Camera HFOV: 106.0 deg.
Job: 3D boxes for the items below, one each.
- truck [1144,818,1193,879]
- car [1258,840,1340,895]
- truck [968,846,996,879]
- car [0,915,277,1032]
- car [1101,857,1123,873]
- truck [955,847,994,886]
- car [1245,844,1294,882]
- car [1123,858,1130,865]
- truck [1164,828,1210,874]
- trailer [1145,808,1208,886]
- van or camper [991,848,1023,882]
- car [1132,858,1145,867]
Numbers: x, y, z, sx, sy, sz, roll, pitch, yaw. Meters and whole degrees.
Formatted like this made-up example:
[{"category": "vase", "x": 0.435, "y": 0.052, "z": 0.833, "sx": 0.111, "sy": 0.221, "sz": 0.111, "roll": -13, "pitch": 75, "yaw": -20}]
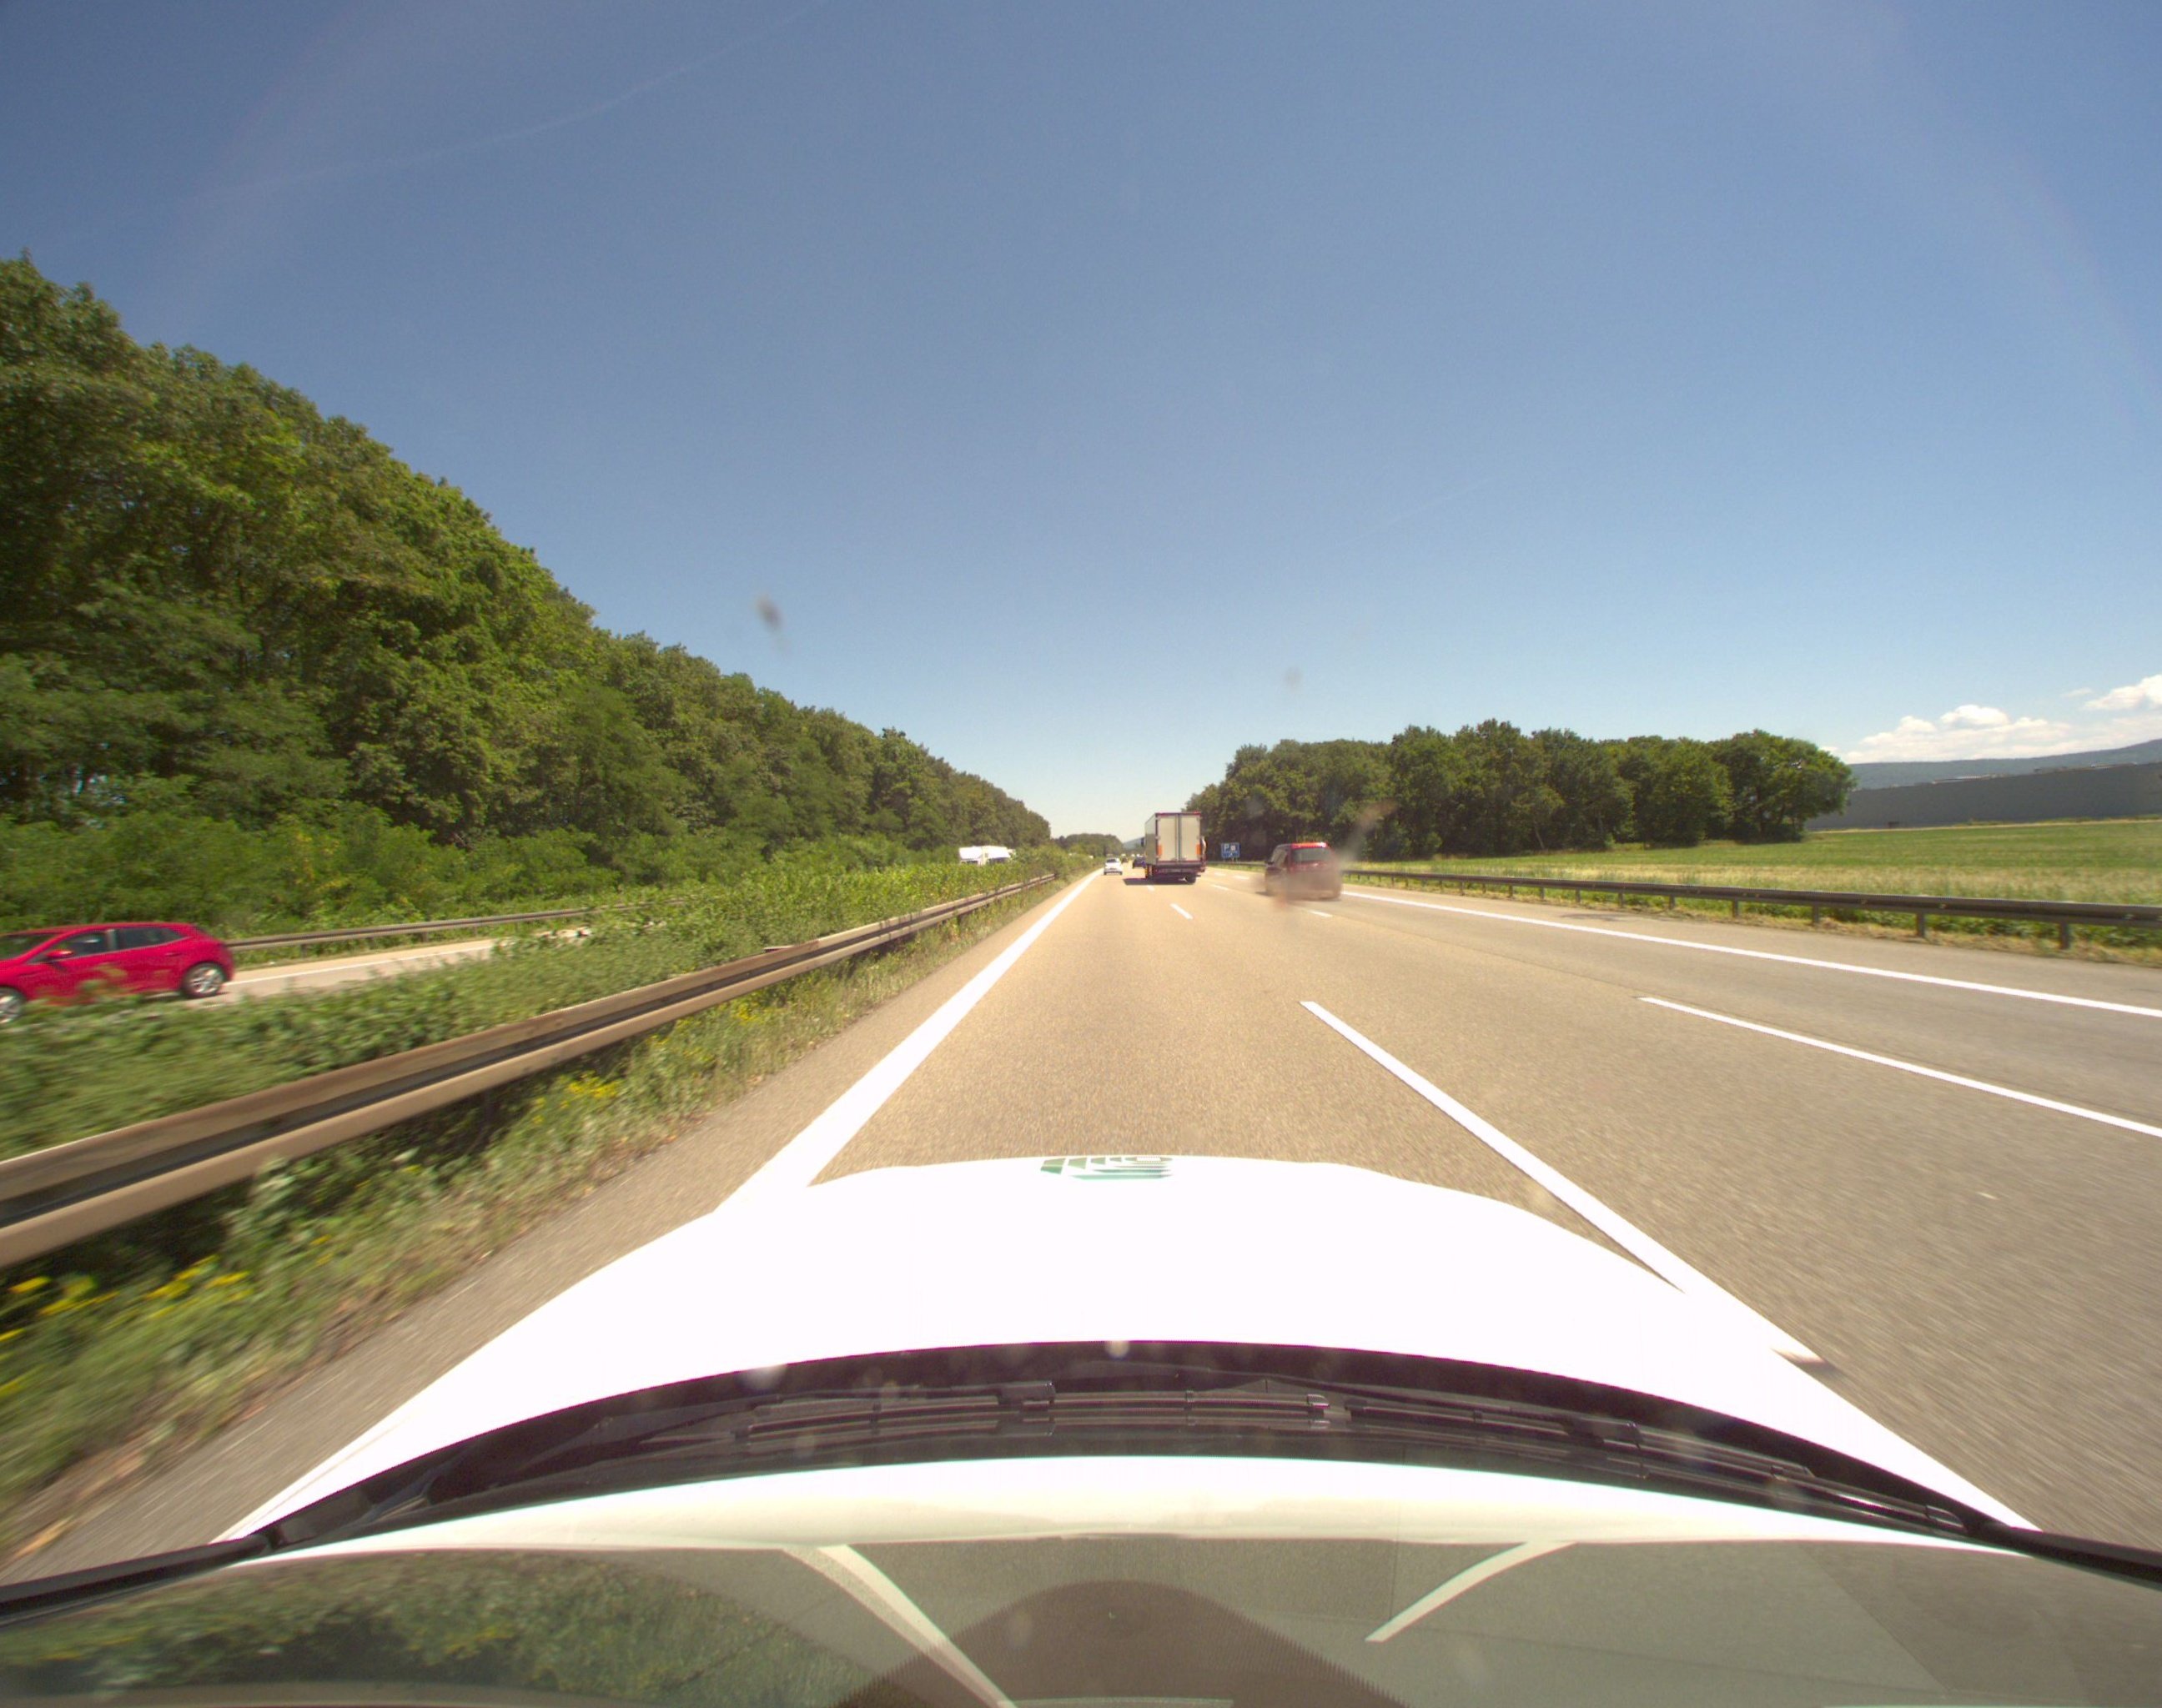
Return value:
[{"category": "truck", "x": 6.219, "y": -0.377, "z": 58.630, "sx": 3.215, "sy": 4.158, "sz": 4.564, "roll": -2, "pitch": 0, "yaw": 4}, {"category": "car", "x": 8.562, "y": 0.506, "z": 32.501, "sx": 1.849, "sy": 2.003, "sz": 5.523, "roll": -1, "pitch": 0, "yaw": 1}, {"category": "truck", "x": -12.796, "y": 1.044, "z": 105.558, "sx": 2.823, "sy": 4.034, "sz": 4.187, "roll": -3, "pitch": -1, "yaw": 2}, {"category": "car", "x": -16.323, "y": 1.866, "z": 13.224, "sx": 1.925, "sy": 1.403, "sz": 4.569, "roll": -1, "pitch": 0, "yaw": 1}, {"category": "car", "x": 2.793, "y": 1.004, "z": 74.722, "sx": 1.806, "sy": 1.405, "sz": 3.316, "roll": -2, "pitch": 0, "yaw": -1}, {"category": "truck", "x": -9.935, "y": 1.135, "z": 76.817, "sx": 2.401, "sy": 3.353, "sz": 7.001, "roll": -4, "pitch": 0, "yaw": 1}, {"category": "car", "x": 10.776, "y": 0.503, "z": 46.783, "sx": 1.986, "sy": 2.014, "sz": 4.002, "roll": -1, "pitch": 0, "yaw": 2}, {"category": "car", "x": 13.276, "y": 2.168, "z": 237.111, "sx": 2.099, "sy": 2.014, "sz": 4.001, "roll": -1, "pitch": 0, "yaw": 1}, {"category": "truck", "x": 10.729, "y": -0.279, "z": 83.645, "sx": 3.213, "sy": 4.345, "sz": 10.805, "roll": -2, "pitch": 0, "yaw": 0}, {"category": "trailer", "x": 5.655, "y": -0.383, "z": 50.403, "sx": 3.209, "sy": 4.143, "sz": 12.364, "roll": -2, "pitch": 0, "yaw": 4}, {"category": "van or camper", "x": -6.542, "y": 0.928, "z": 72.652, "sx": 1.986, "sy": 2.846, "sz": 7.001, "roll": -2, "pitch": 0, "yaw": 1}, {"category": "car", "x": 8.214, "y": 1.179, "z": 116.293, "sx": 1.659, "sy": 1.289, "sz": 4.007, "roll": -2, "pitch": 0, "yaw": 6}]
